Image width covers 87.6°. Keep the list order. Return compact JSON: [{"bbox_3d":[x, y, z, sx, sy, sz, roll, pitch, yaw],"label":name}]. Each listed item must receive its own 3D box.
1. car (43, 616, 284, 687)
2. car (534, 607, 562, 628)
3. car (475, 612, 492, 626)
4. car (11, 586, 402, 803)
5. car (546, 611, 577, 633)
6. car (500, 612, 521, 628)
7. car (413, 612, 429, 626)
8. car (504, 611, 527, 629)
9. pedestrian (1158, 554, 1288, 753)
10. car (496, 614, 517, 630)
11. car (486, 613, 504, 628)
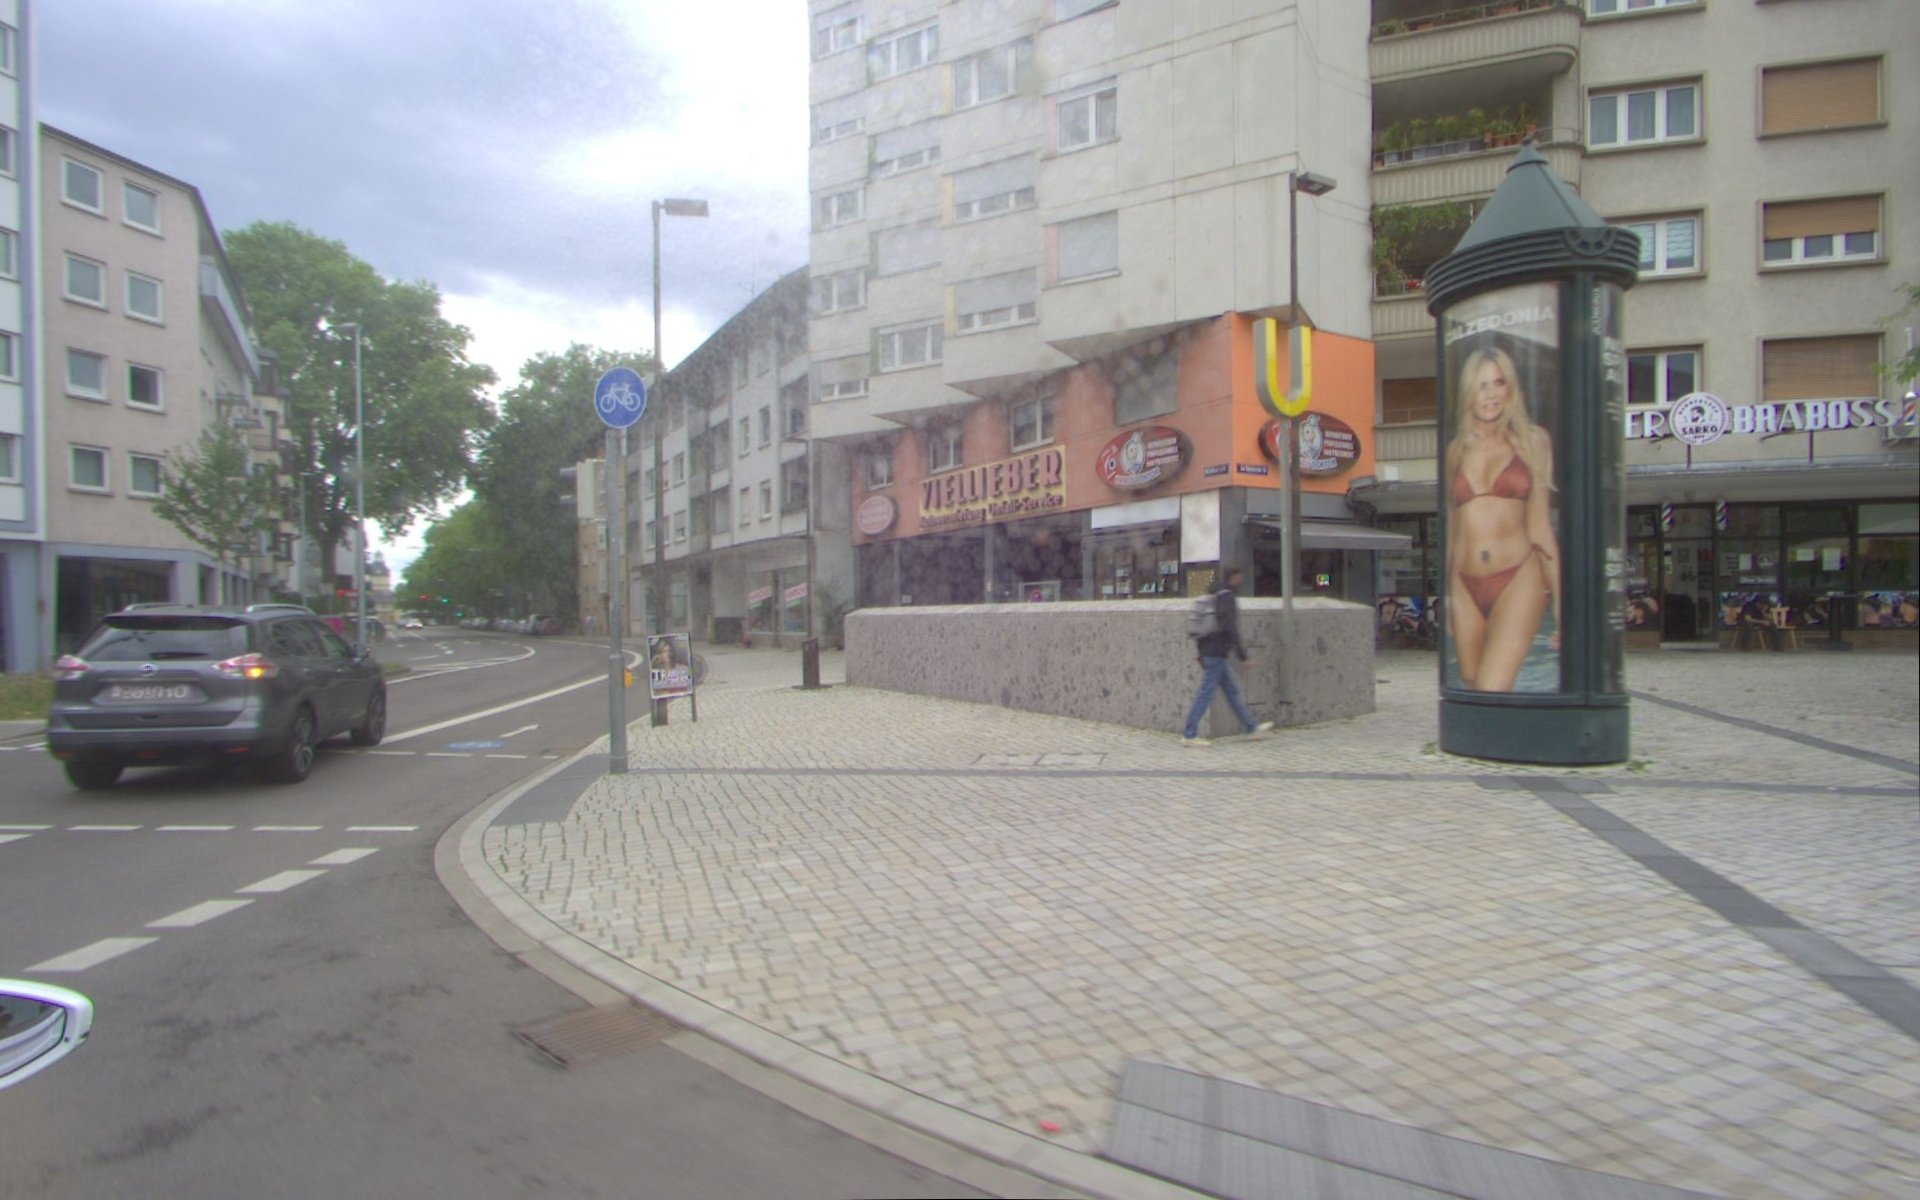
[{"bbox_3d":[-19.272,1.182,24.549,1.715,1.501,4.563,-1,0,11],"label":"car"},{"bbox_3d":[-36.841,1.531,89.471,1.842,1.798,3.964,1,-1,-29],"label":"car"},{"bbox_3d":[-66.758,2.659,140.284,1.842,1.798,3.964,1,-1,-29],"label":"car"},{"bbox_3d":[-7.599,0.819,10.734,1.836,1.798,4.558,1,-1,-17],"label":"car"},{"bbox_3d":[-32.886,1.794,82.585,1.842,1.798,3.964,1,-1,-29],"label":"car"},{"bbox_3d":[-49.960,2.223,111.292,1.842,1.798,3.964,1,-1,-29],"label":"car"},{"bbox_3d":[-73.293,2.537,136.236,1.842,1.798,3.964,1,-1,-29],"label":"car"},{"bbox_3d":[-45.445,2.047,102.319,1.842,1.798,3.964,1,-1,-29],"label":"car"},{"bbox_3d":[2.662,0.513,10.082,1.134,1.888,0.803,-1,2,24],"label":"pedestrian"},{"bbox_3d":[-52.542,2.545,115.984,1.842,1.798,3.964,1,-1,-29],"label":"car"},{"bbox_3d":[-58.850,2.594,126.636,1.842,1.798,3.964,1,-1,-29],"label":"car"}]
